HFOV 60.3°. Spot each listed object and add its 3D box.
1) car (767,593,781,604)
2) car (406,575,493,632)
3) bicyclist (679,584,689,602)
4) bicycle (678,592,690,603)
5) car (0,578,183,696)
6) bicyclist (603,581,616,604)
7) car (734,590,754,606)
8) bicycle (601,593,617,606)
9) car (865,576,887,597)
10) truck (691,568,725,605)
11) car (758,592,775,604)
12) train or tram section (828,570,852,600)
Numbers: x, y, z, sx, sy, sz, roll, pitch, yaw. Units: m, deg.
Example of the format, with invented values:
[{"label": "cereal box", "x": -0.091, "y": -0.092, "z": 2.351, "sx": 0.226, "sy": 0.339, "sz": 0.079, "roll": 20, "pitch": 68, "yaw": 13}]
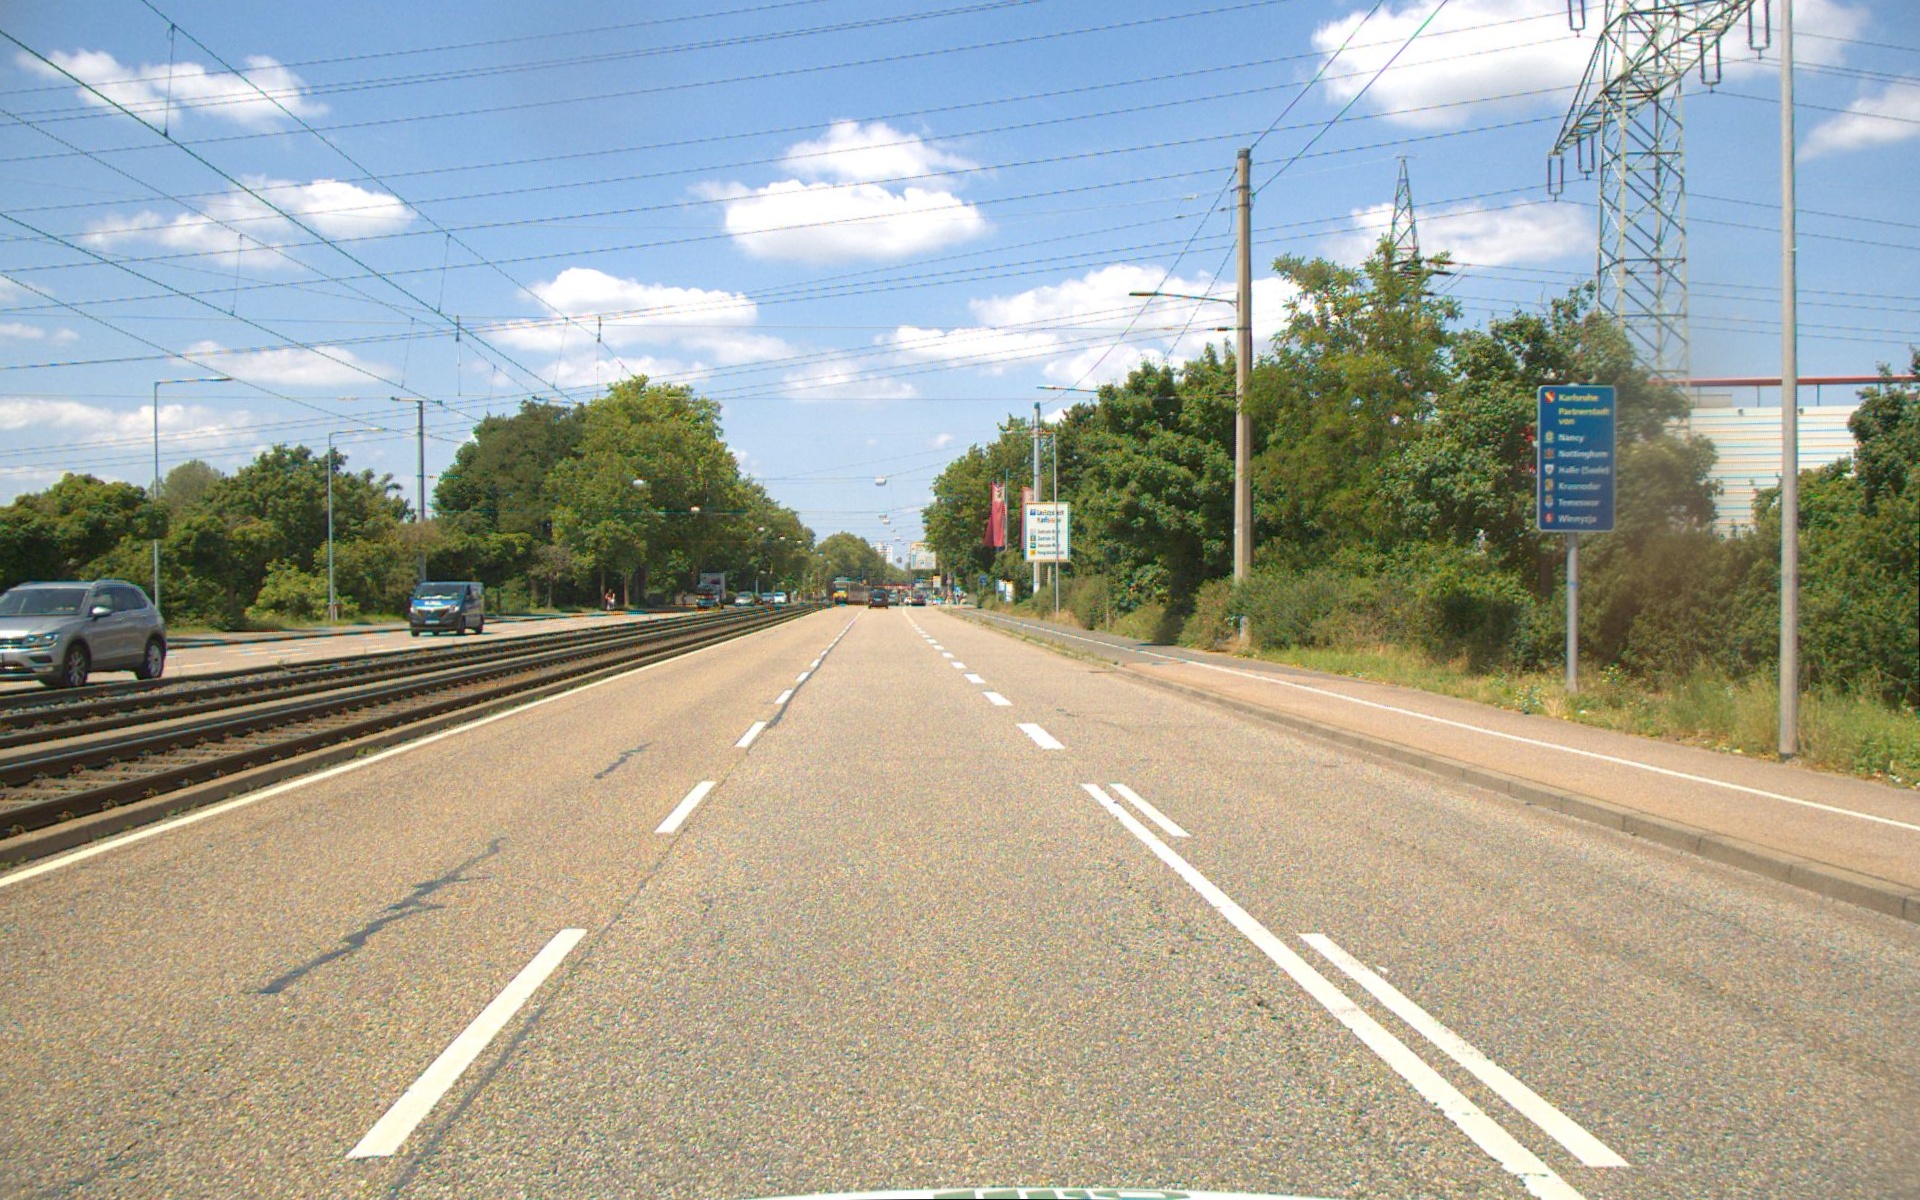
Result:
[{"label": "car", "x": -24.808, "y": -0.170, "z": 220.638, "sx": 1.604, "sy": 1.461, "sz": 3.719, "roll": -2, "pitch": 0, "yaw": -3}, {"label": "car", "x": -18.782, "y": 0.092, "z": 61.053, "sx": 1.820, "sy": 1.961, "sz": 5.005, "roll": -2, "pitch": 1, "yaw": -3}, {"label": "bicyclist", "x": -25.512, "y": -0.665, "z": 152.821, "sx": 0.610, "sy": 1.645, "sz": 1.062, "roll": 2, "pitch": 0, "yaw": 3}, {"label": "bicycle", "x": -25.523, "y": -0.204, "z": 152.834, "sx": 0.610, "sy": 0.996, "sz": 2.055, "roll": 2, "pitch": 0, "yaw": 3}, {"label": "car", "x": -13.943, "y": 0.519, "z": 25.701, "sx": 1.765, "sy": 1.653, "sz": 4.491, "roll": -2, "pitch": 1, "yaw": -3}, {"label": "bicyclist", "x": -25.393, "y": -0.535, "z": 119.760, "sx": 0.637, "sy": 1.648, "sz": 1.155, "roll": 1, "pitch": 0, "yaw": 1}, {"label": "car", "x": -22.513, "y": -0.206, "z": 172.376, "sx": 1.717, "sy": 1.562, "sz": 3.954, "roll": -1, "pitch": 0, "yaw": -4}, {"label": "bicycle", "x": -25.404, "y": -0.026, "z": 119.818, "sx": 0.637, "sy": 0.874, "sz": 2.121, "roll": 2, "pitch": 0, "yaw": 1}, {"label": "car", "x": -7.483, "y": -1.205, "z": 147.178, "sx": 1.861, "sy": 1.837, "sz": 3.974, "roll": 2, "pitch": 0, "yaw": -3}, {"label": "truck", "x": -22.858, "y": -1.197, "z": 150.311, "sx": 2.204, "sy": 3.293, "sz": 6.040, "roll": 0, "pitch": 0, "yaw": -1}, {"label": "car", "x": -23.545, "y": -0.282, "z": 201.458, "sx": 1.604, "sy": 1.446, "sz": 4.126, "roll": -1, "pitch": 0, "yaw": -2}, {"label": "train or tram section", "x": -18.522, "y": -2.303, "z": 255.269, "sx": 2.986, "sy": 4.342, "sz": 15.418, "roll": 0, "pitch": 0, "yaw": -2}]
